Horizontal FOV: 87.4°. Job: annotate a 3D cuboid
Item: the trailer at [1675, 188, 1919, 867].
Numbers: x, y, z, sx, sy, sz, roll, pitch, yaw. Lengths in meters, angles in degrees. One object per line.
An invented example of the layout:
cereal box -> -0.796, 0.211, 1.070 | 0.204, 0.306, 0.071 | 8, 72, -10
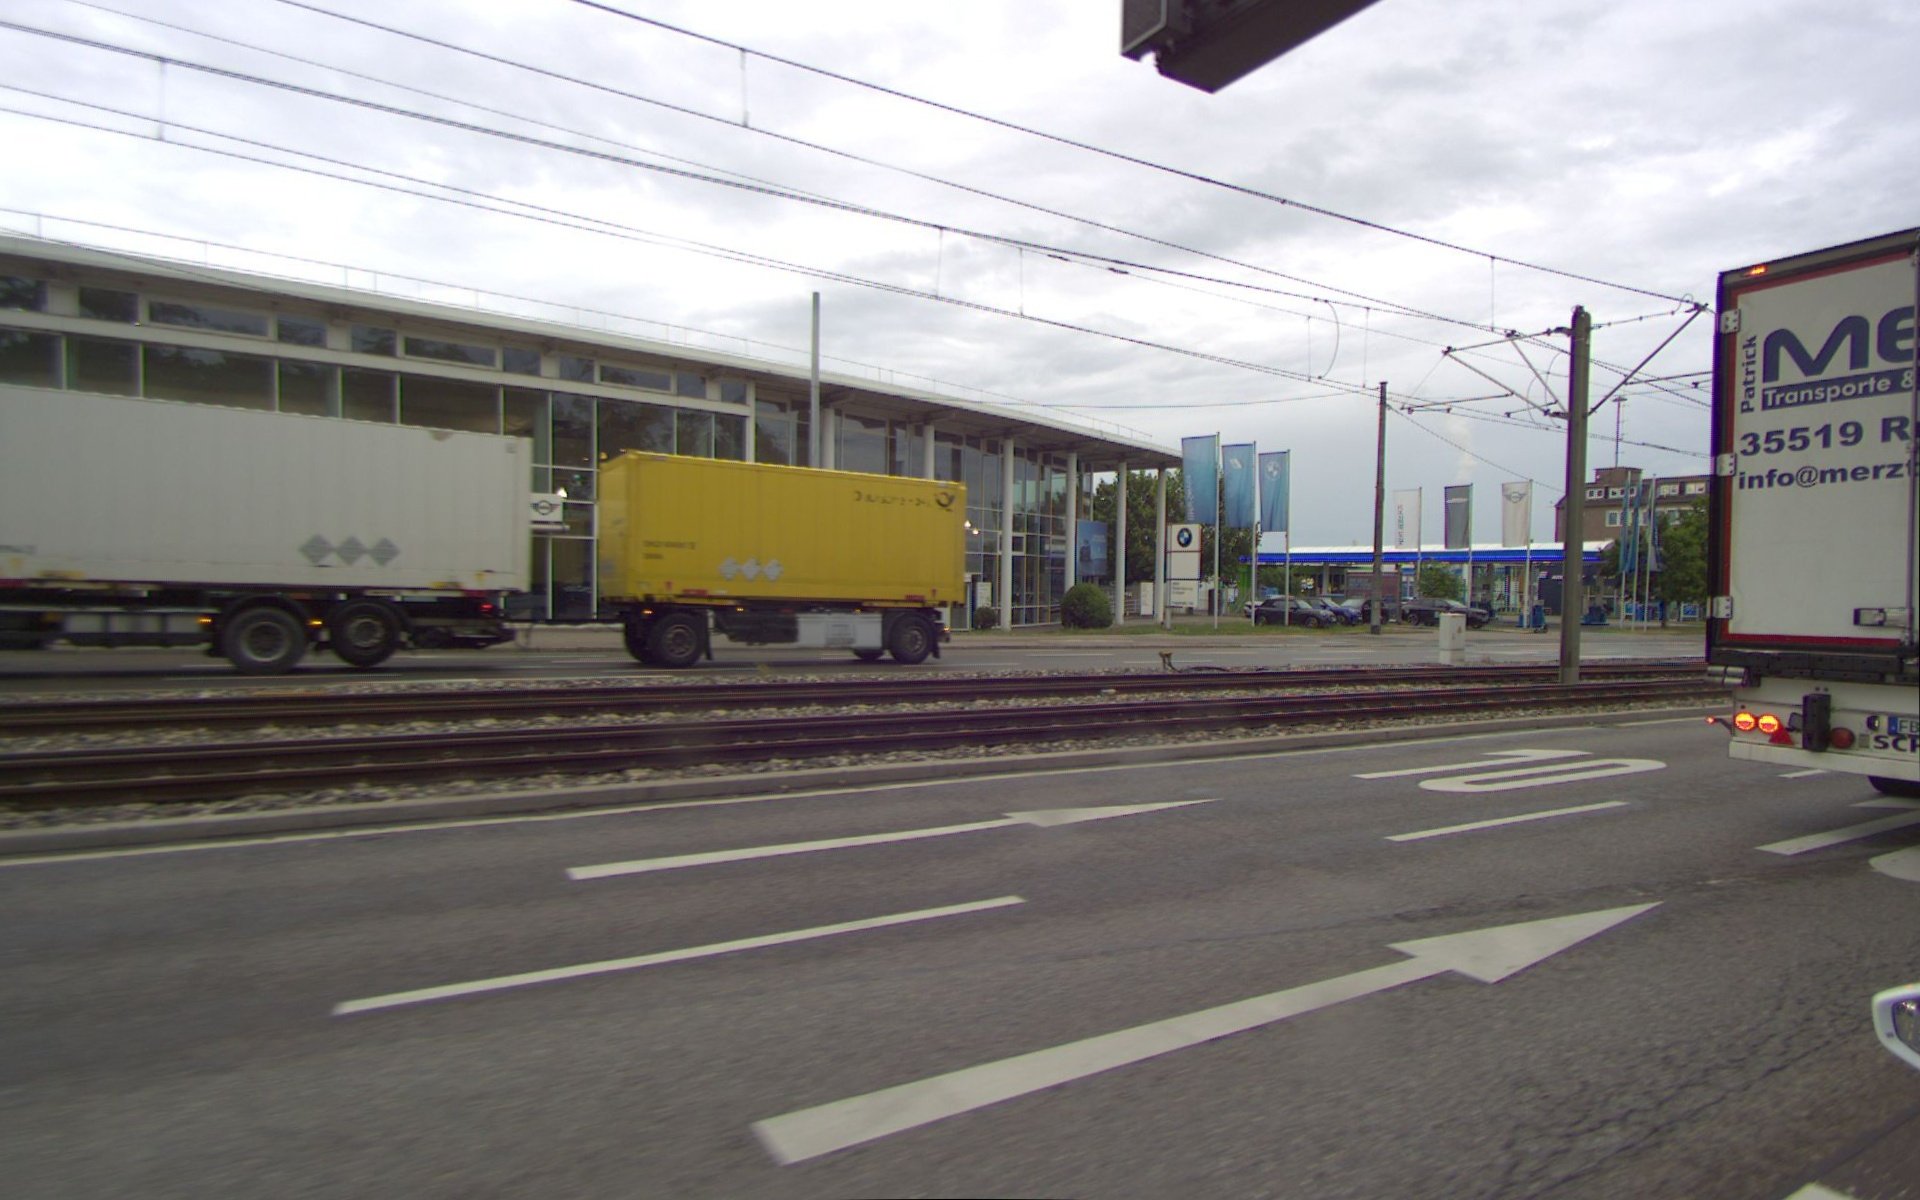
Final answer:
trailer -> 11.664, -0.356, 9.732 | 13.031, 4.309, 2.749 | 1, -1, -31

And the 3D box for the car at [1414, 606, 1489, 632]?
car -> 27.702, 1.054, 56.718 | 1.694, 1.291, 3.503 | 1, 1, -27

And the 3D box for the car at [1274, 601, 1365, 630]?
car -> 18.067, 0.780, 50.543 | 3.938, 1.251, 1.753 | 2, 0, 39

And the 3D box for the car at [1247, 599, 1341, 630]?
car -> 15.946, 0.663, 48.089 | 3.938, 1.252, 1.695 | 3, 3, 39

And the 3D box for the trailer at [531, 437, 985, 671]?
trailer -> -3.971, -0.724, 21.149 | 8.983, 4.105, 2.668 | 1, 0, -32

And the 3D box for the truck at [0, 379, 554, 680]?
truck -> -12.055, -0.929, 15.983 | 10.031, 4.105, 2.668 | 1, 0, -32
